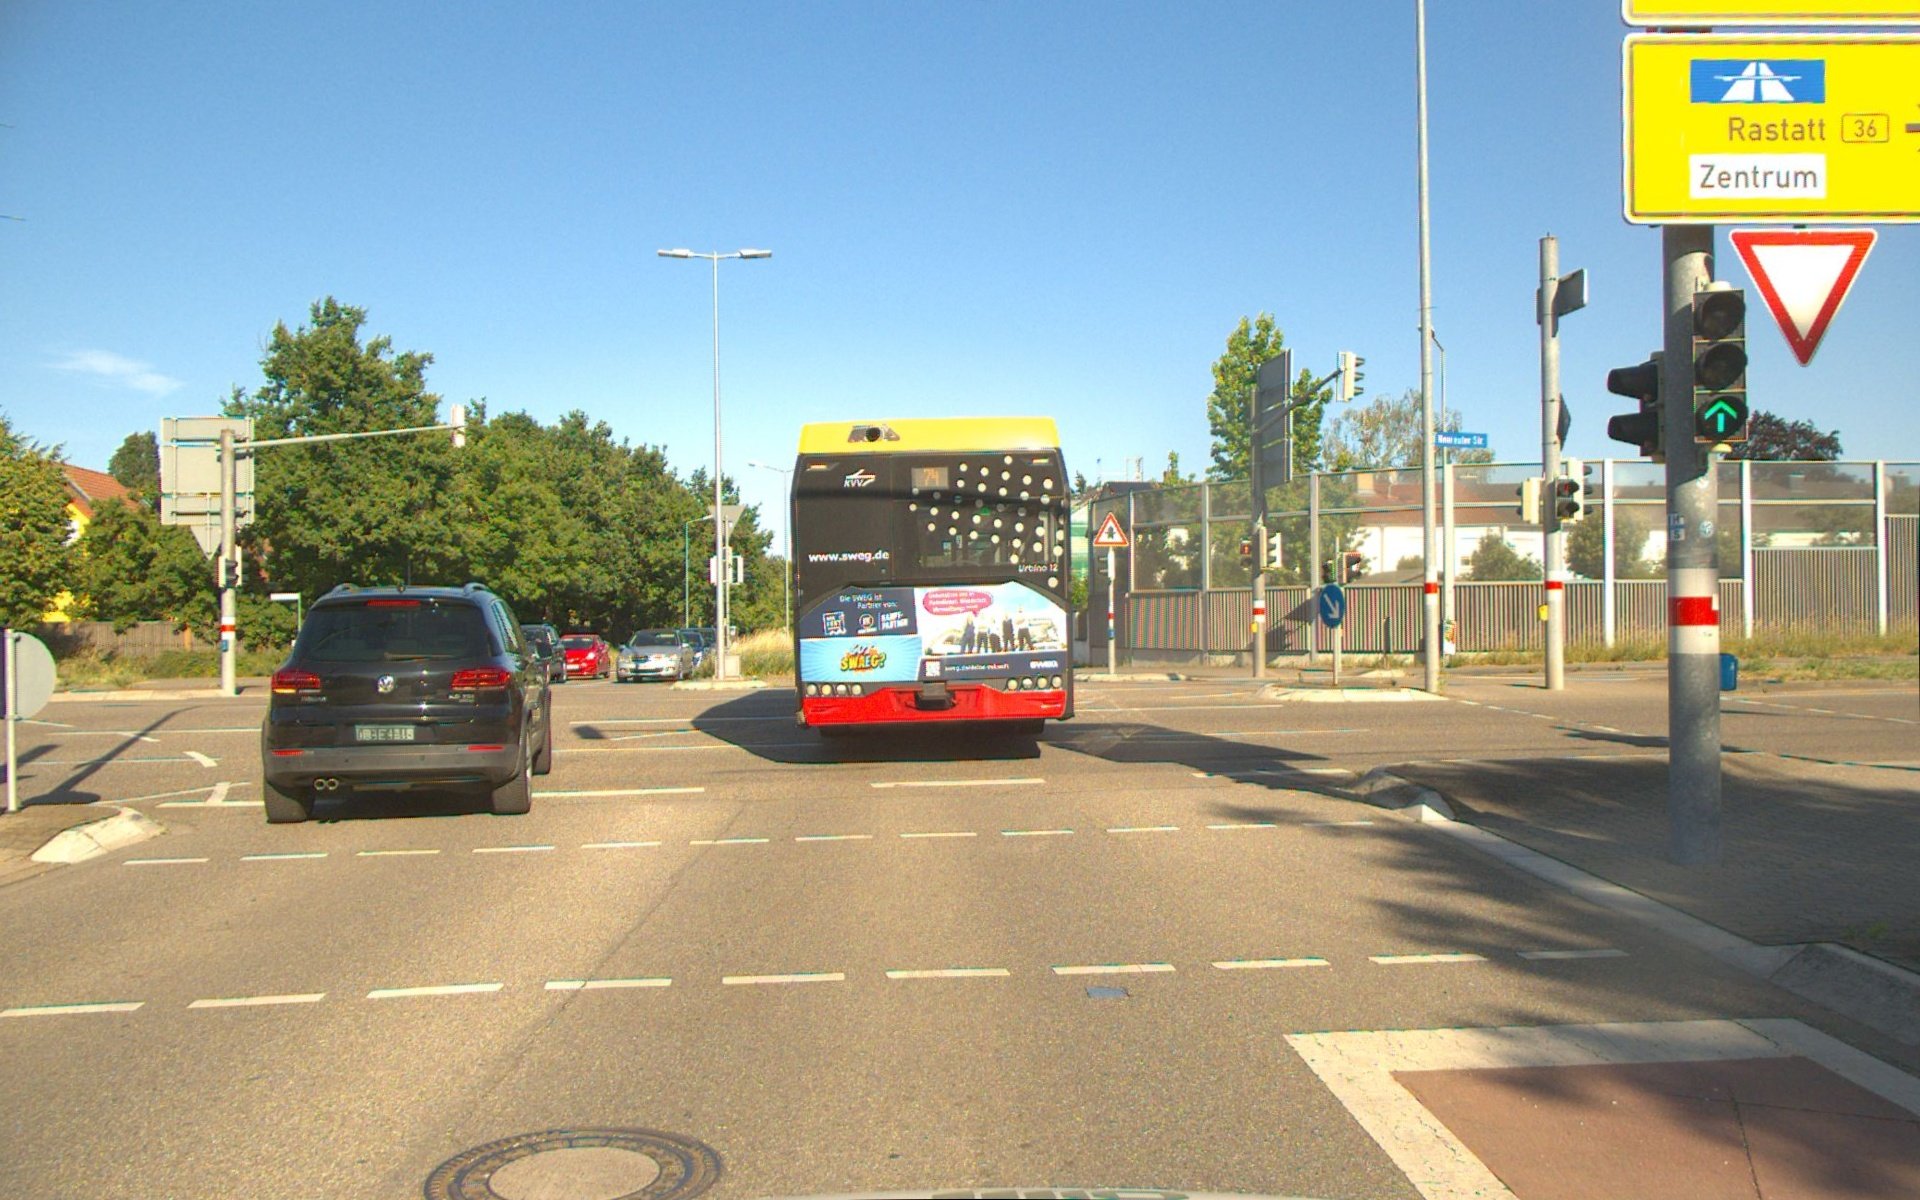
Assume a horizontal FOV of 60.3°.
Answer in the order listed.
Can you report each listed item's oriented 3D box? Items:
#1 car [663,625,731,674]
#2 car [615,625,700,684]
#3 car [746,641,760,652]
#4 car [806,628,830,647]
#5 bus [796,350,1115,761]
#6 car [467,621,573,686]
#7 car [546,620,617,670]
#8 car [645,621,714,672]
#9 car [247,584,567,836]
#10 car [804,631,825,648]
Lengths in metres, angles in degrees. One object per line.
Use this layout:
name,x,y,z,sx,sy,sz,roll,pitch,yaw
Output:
car,-9.352,1.730,59.067,1.954,1.644,4.526,-1,-1,-4
car,-8.422,1.500,46.378,1.758,1.532,4.527,-1,-1,-3
car,-30.497,6.780,243.327,1.898,1.569,3.990,0,-2,-10
car,-13.190,3.519,153.257,1.900,1.734,3.990,0,-2,-10
bus,-0.326,-0.395,20.598,2.702,3.518,12.391,-1,0,-3
car,-12.221,1.460,46.192,1.954,1.673,4.527,-1,-1,-3
car,-12.234,1.445,53.677,1.613,1.509,3.710,-1,-1,-3
car,-8.874,1.449,52.498,1.712,1.509,3.885,-1,-1,-3
car,-4.152,0.734,13.029,1.793,1.656,3.990,0,0,-10
car,-15.440,4.173,175.719,1.898,1.773,3.990,0,-2,-10
